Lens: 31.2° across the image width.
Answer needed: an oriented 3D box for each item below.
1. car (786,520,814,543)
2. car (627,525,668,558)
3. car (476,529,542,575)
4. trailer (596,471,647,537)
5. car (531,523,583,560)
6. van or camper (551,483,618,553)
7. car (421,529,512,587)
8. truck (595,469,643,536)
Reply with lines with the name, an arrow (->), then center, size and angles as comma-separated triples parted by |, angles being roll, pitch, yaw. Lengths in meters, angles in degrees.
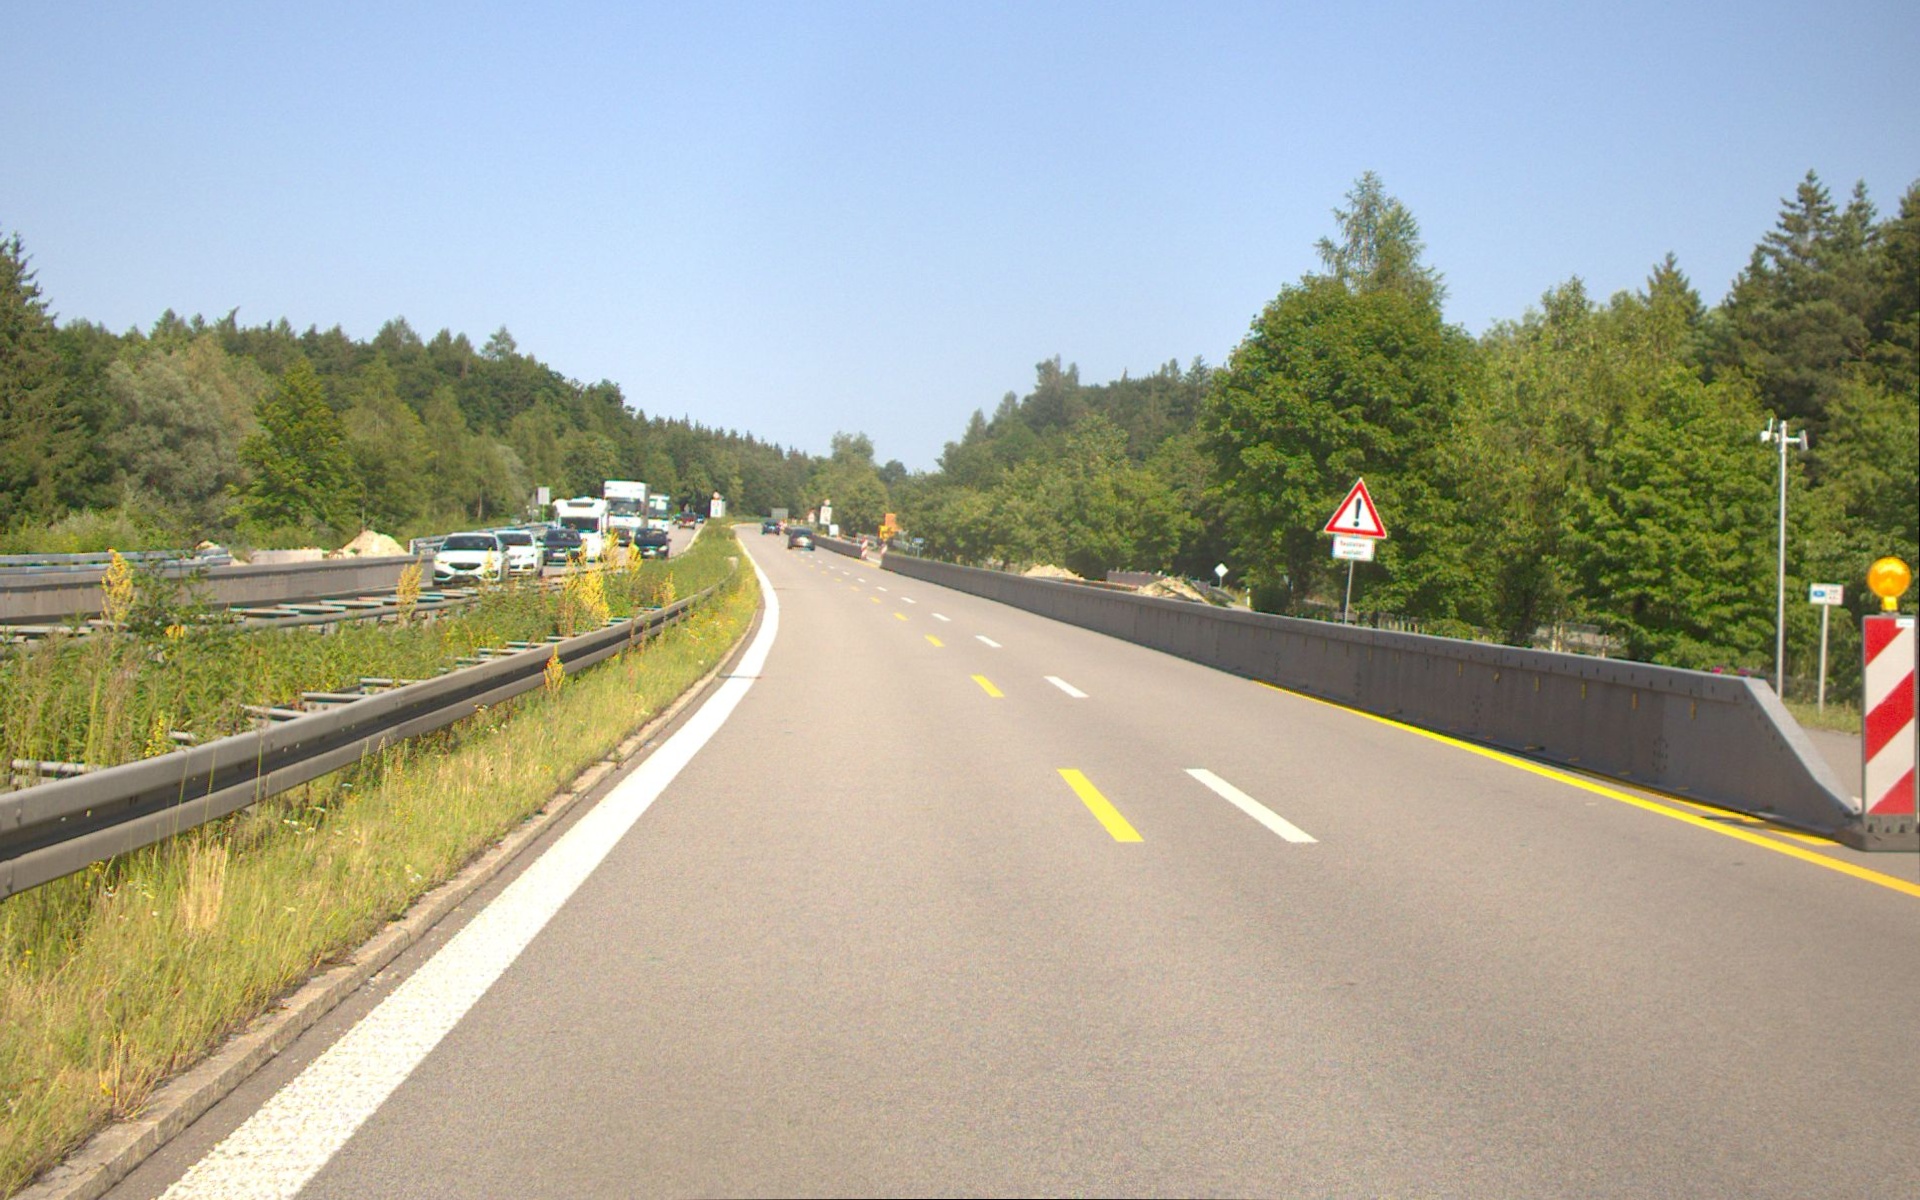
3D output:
car -> -10.905, -4.698, 234.767 | 1.743, 1.461, 4.295 | 3, 1, -4
car -> -14.691, -2.773, 161.634 | 1.741, 1.525, 4.001 | 0, 1, -3
car -> -14.331, -1.551, 109.372 | 1.701, 1.427, 4.956 | 0, 1, -3
trailer -> -21.620, -6.104, 220.297 | 2.741, 4.056, 13.999 | 1, 1, -4
car -> -16.386, -2.383, 139.989 | 1.741, 1.427, 5.236 | -1, 1, -3
van or camper -> -16.732, -3.657, 153.529 | 2.406, 2.940, 7.523 | 2, 1, -3
car -> -12.863, -1.114, 89.812 | 1.883, 1.427, 4.984 | 2, 1, -3
truck -> -21.204, -6.033, 214.058 | 2.770, 4.074, 5.476 | 1, 1, -4
